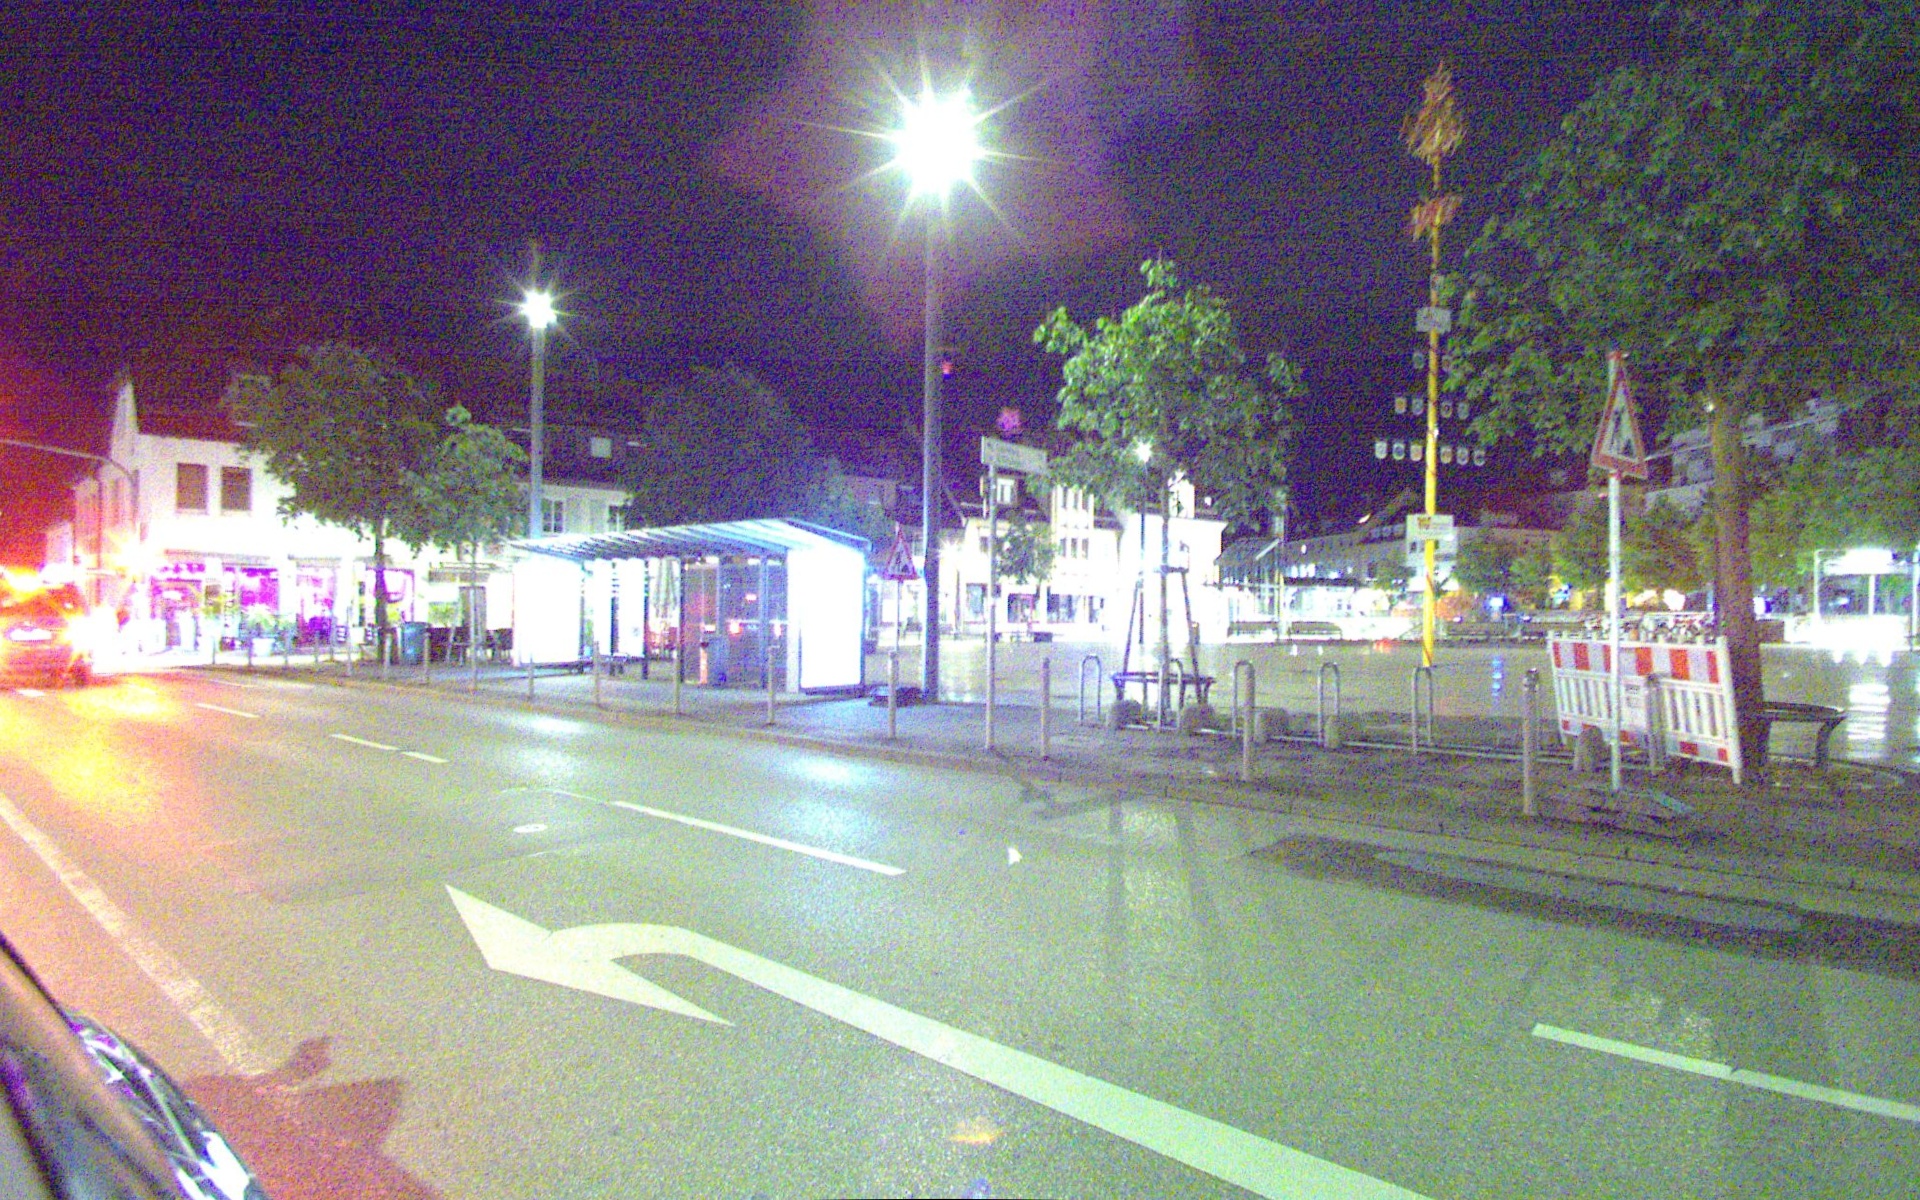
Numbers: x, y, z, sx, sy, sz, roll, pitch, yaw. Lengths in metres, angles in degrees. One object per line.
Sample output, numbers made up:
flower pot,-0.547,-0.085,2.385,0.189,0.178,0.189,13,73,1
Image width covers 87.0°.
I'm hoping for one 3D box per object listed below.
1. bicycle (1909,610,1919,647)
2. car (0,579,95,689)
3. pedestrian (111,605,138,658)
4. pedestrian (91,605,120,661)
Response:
bicycle,26.409,0.755,26.978,1.525,0.965,0.476,-1,0,25
car,-18.082,0.618,19.190,4.911,1.886,1.945,-1,-1,42
pedestrian,-26.359,0.990,31.926,0.637,1.640,0.584,-1,0,-39
pedestrian,-25.591,0.986,30.325,0.637,1.640,0.584,-1,0,-39
